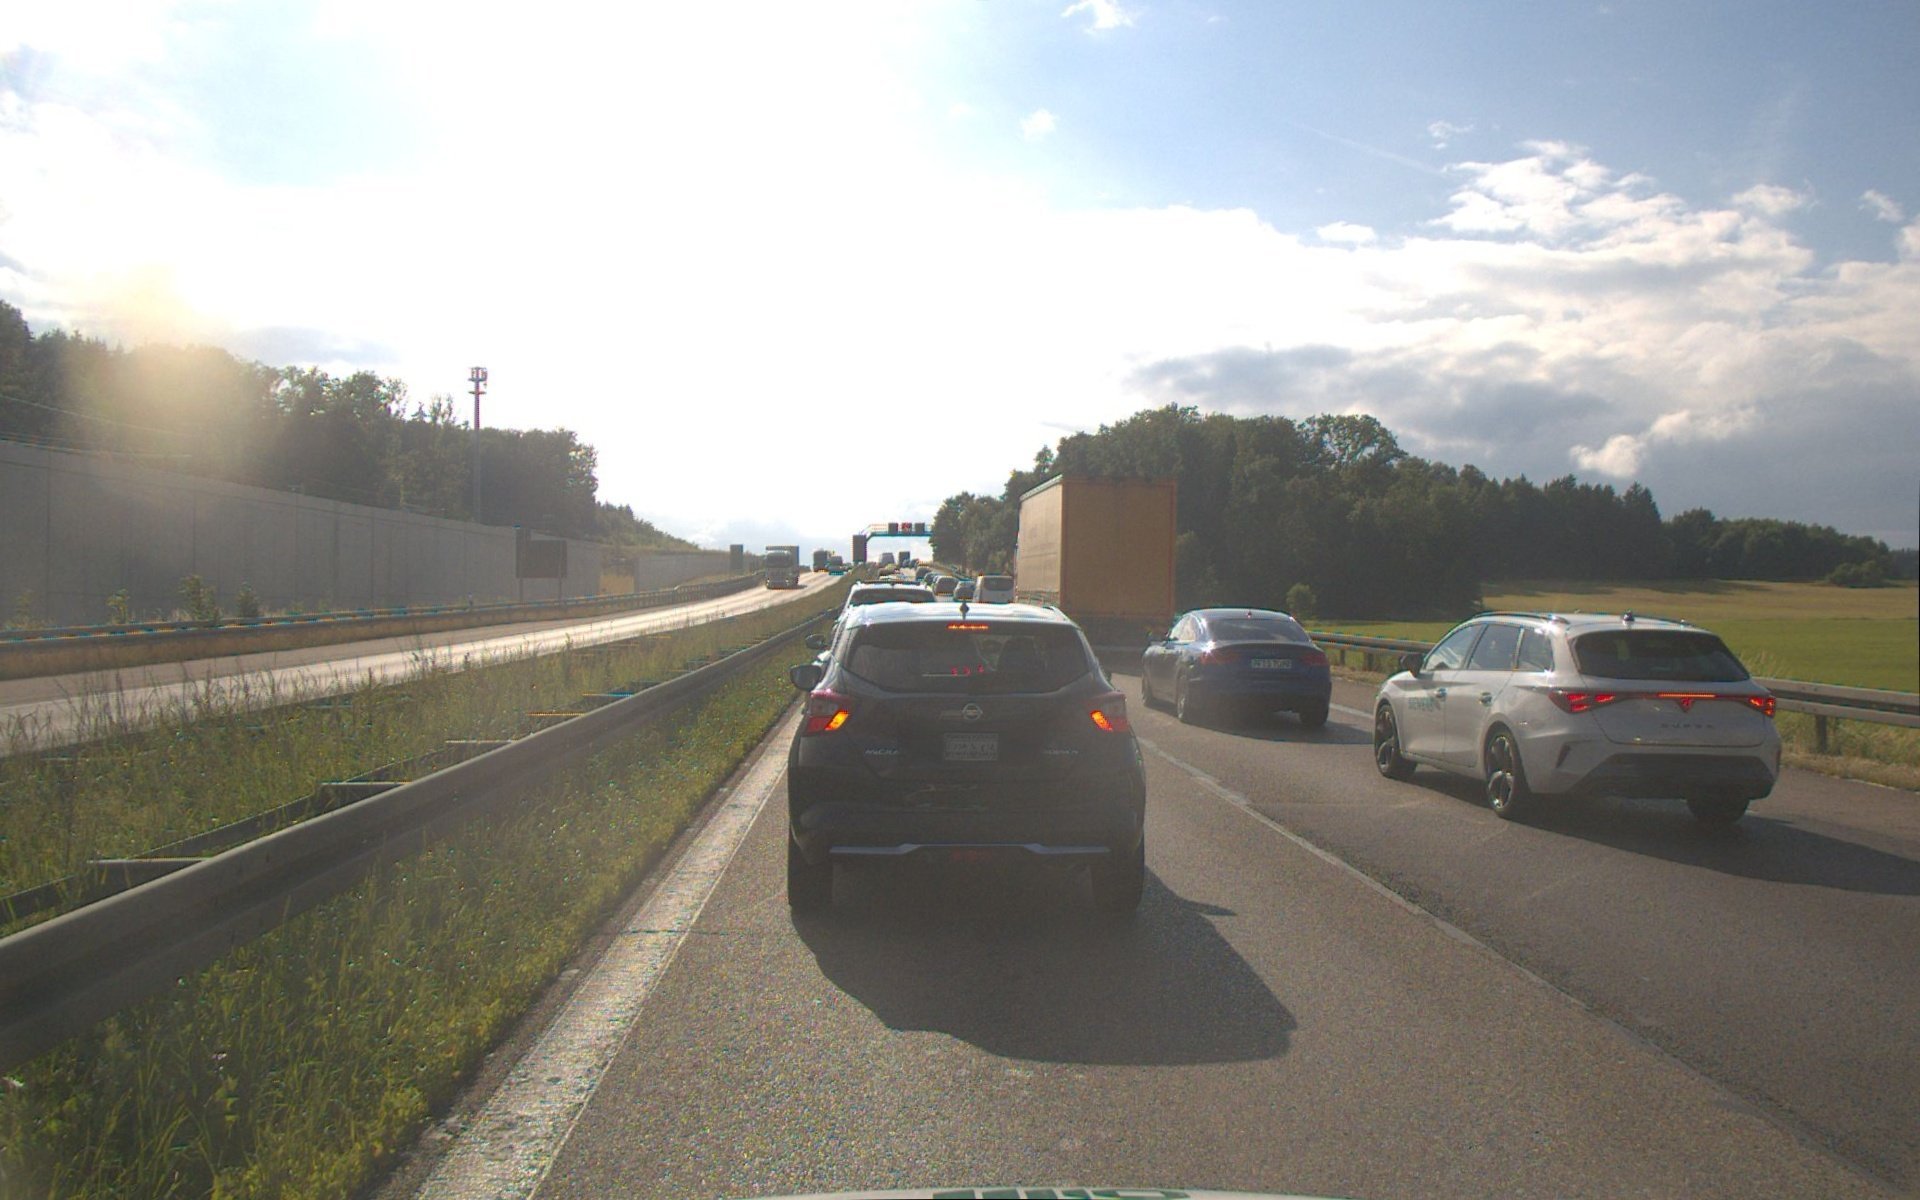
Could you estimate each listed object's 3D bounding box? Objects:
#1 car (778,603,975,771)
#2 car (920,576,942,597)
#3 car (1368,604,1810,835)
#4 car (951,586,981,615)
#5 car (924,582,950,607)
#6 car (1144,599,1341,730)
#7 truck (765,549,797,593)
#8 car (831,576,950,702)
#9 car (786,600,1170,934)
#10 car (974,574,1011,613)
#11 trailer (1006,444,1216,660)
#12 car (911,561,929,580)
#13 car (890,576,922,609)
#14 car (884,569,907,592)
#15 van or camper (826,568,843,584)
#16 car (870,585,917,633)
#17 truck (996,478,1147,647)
[{"bbox_3d":[-0.746,0.746,15.771,1.640,1.391,3.595,1,0,-1],"label":"car"},{"bbox_3d":[-2.879,-1.300,162.358,1.954,2.049,3.997,1,0,-3],"label":"car"},{"bbox_3d":[4.569,0.785,12.714,1.588,1.471,4.143,1,0,-4],"label":"car"},{"bbox_3d":[0.423,0.056,120.200,1.954,2.049,3.997,1,0,-3],"label":"car"},{"bbox_3d":[-1.936,-0.455,138.289,1.954,2.049,3.997,1,0,-3],"label":"car"},{"bbox_3d":[3.507,0.759,21.246,1.712,1.501,4.145,1,0,-1],"label":"car"},{"bbox_3d":[-17.639,-2.781,163.187,2.585,4.169,6.998,1,0,-3],"label":"truck"},{"bbox_3d":[-1.023,0.557,25.105,1.640,1.756,3.595,1,0,-1],"label":"car"},{"bbox_3d":[0.059,0.749,8.993,1.675,1.451,3.377,1,0,-1],"label":"car"},{"bbox_3d":[1.541,-0.282,78.761,1.633,1.785,3.326,1,0,-1],"label":"car"},{"bbox_3d":[3.416,-0.996,41.709,3.478,4.535,12.714,1,0,-3],"label":"trailer"},{"bbox_3d":[-4.720,-3.467,193.871,1.954,2.049,3.997,1,0,-3],"label":"car"},{"bbox_3d":[-3.465,-0.450,105.616,1.954,2.049,3.997,1,0,-3],"label":"car"},{"bbox_3d":[-5.872,-1.757,150.446,1.954,2.049,3.997,1,0,-3],"label":"car"},{"bbox_3d":[-18.267,-3.514,241.229,2.122,2.244,6.257,1,0,-1],"label":"van or camper"},{"bbox_3d":[-2.945,0.391,72.544,1.954,2.049,3.997,1,0,-3],"label":"car"},{"bbox_3d":[3.070,-0.993,47.718,3.511,4.456,6.684,1,0,-3],"label":"truck"}]
